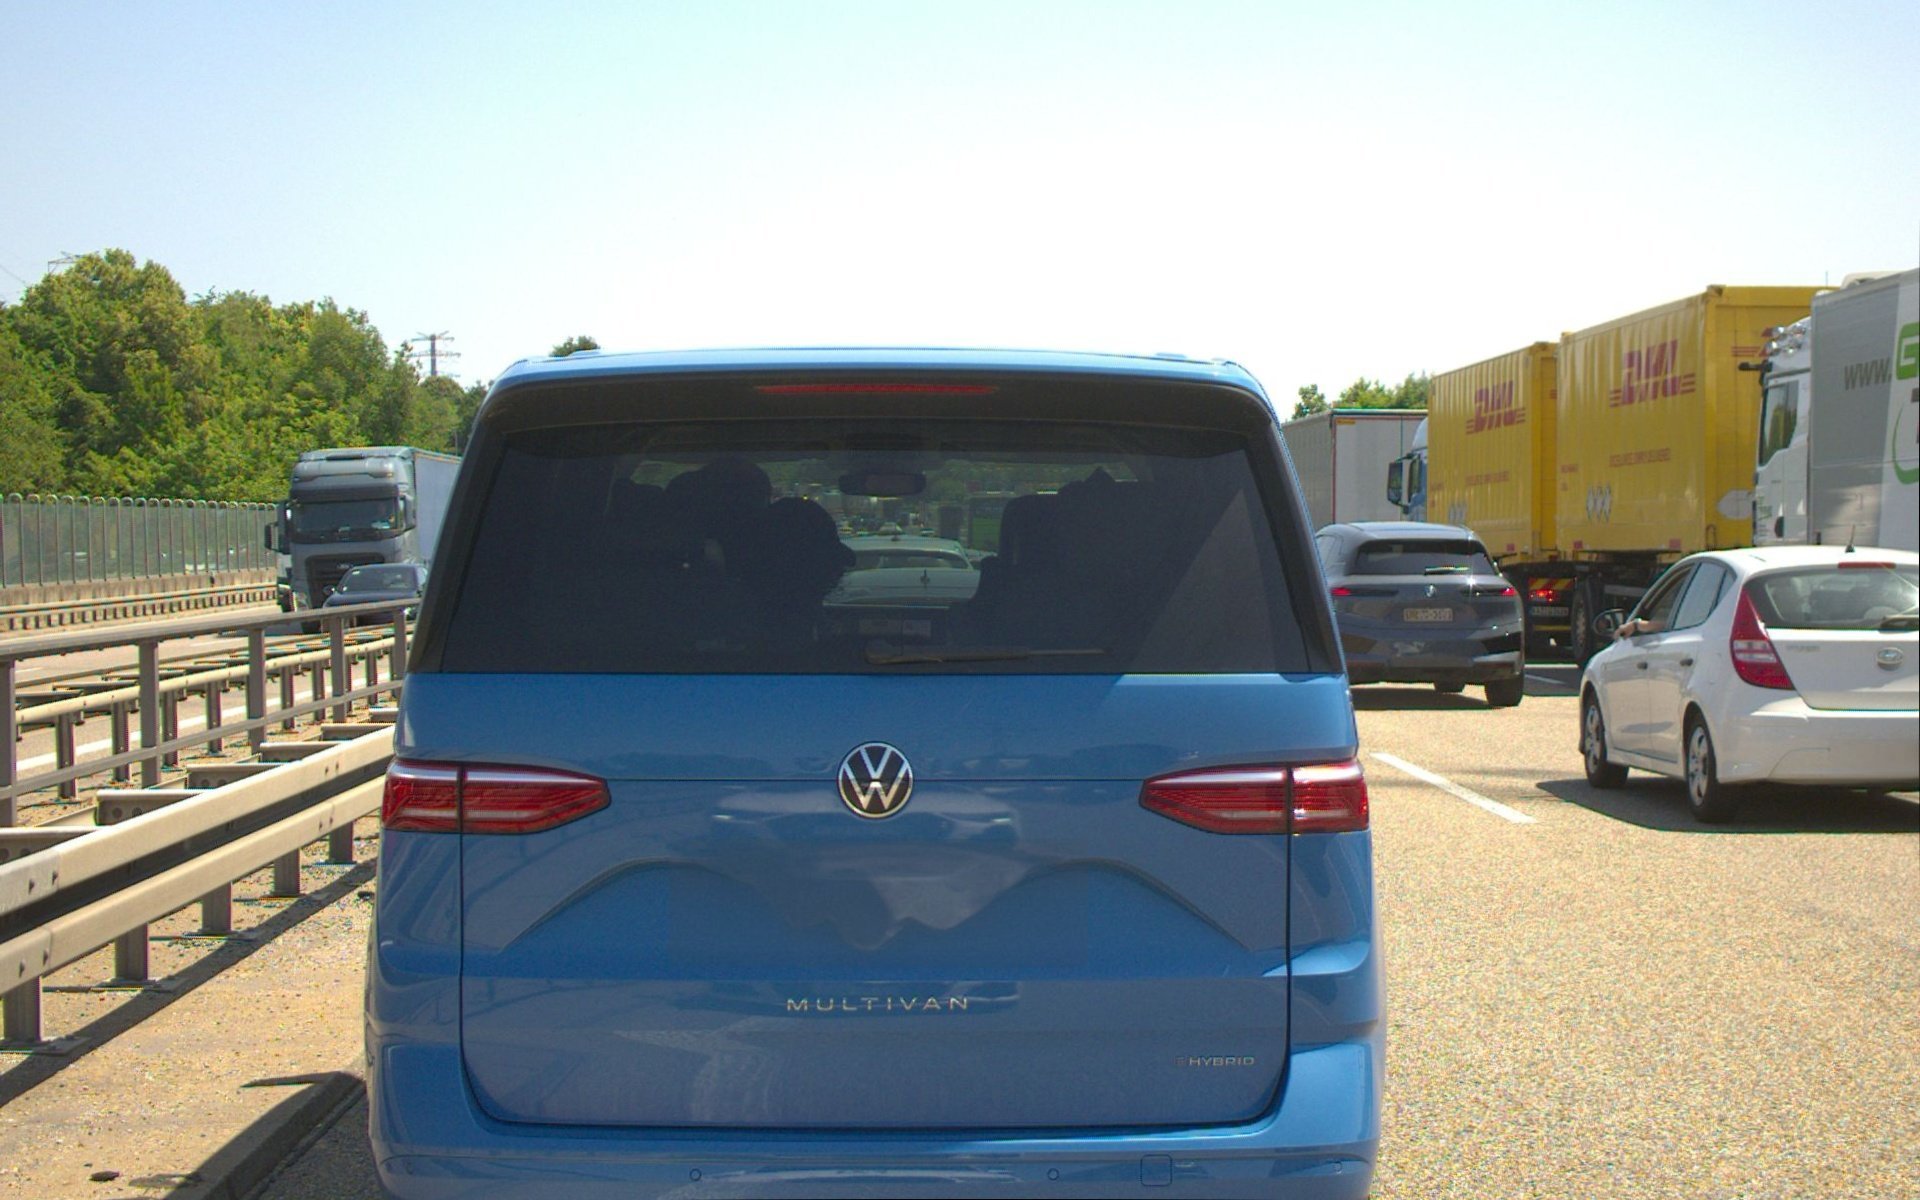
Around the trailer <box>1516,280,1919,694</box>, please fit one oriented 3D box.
[{"bbox_3d":[8.470,-1.154,38.550,2.682,4.074,8.981,1,0,-2],"label":"trailer"}]

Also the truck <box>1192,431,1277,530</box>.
[{"bbox_3d":[7.151,-3.083,89.835,1.798,2.441,4.504,1,0,0],"label":"truck"}]

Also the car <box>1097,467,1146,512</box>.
[{"bbox_3d":[6.727,-4.612,143.657,1.797,1.745,3.943,1,0,0],"label":"car"}]

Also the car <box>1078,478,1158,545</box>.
[{"bbox_3d":[4.256,-2.377,93.129,1.919,1.700,4.000,1,0,-1],"label":"car"}]

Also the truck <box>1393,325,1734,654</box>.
[{"bbox_3d":[8.166,-1.420,47.941,2.699,4.074,9.940,1,0,-2],"label":"truck"}]

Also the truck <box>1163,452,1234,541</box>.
[{"bbox_3d":[7.179,-3.098,103.882,1.797,2.587,4.305,1,0,0],"label":"truck"}]

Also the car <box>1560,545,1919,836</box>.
[{"bbox_3d":[4.716,0.450,19.494,1.815,1.465,3.932,1,0,-2],"label":"car"}]

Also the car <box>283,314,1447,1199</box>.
[{"bbox_3d":[-0.182,0.452,7.760,1.930,1.867,4.000,1,0,-1],"label":"car"}]

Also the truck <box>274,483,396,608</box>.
[{"bbox_3d":[-18.313,-1.579,101.023,2.520,3.523,5.330,-2,0,0],"label":"truck"}]

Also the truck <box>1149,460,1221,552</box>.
[{"bbox_3d":[6.424,-2.663,98.639,1.742,2.540,4.210,1,0,0],"label":"truck"}]

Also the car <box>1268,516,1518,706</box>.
[{"bbox_3d":[4.045,0.085,32.673,1.815,1.673,3.932,1,0,-1],"label":"car"}]

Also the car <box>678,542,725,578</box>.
[{"bbox_3d":[-11.273,-1.743,150.185,1.881,1.547,4.190,1,0,-2],"label":"car"}]

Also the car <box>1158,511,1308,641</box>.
[{"bbox_3d":[4.219,-0.379,53.640,1.962,1.929,3.932,1,0,-1],"label":"car"}]

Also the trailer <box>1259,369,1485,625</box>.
[{"bbox_3d":[7.936,-1.904,67.689,3.026,4.595,10.925,1,0,0],"label":"trailer"}]

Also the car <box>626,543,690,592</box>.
[{"bbox_3d":[-9.908,-1.065,113.054,1.881,1.547,4.190,1,0,-2],"label":"car"}]

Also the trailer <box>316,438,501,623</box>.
[{"bbox_3d":[-13.393,-1.632,84.520,2.704,4.151,12.051,-2,0,-1],"label":"trailer"}]

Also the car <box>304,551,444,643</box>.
[{"bbox_3d":[-10.239,-0.065,60.308,1.797,1.493,3.852,-2,0,-1],"label":"car"}]

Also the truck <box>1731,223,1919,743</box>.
[{"bbox_3d":[8.659,-0.875,26.470,2.852,3.921,10.610,1,0,-1],"label":"truck"}]

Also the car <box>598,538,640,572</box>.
[{"bbox_3d":[-17.694,-2.330,178.417,1.806,1.634,4.000,-2,1,-2],"label":"car"}]

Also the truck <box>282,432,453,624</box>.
[{"bbox_3d":[-13.253,-1.583,77.364,2.753,4.102,6.265,-1,0,-1],"label":"truck"}]
